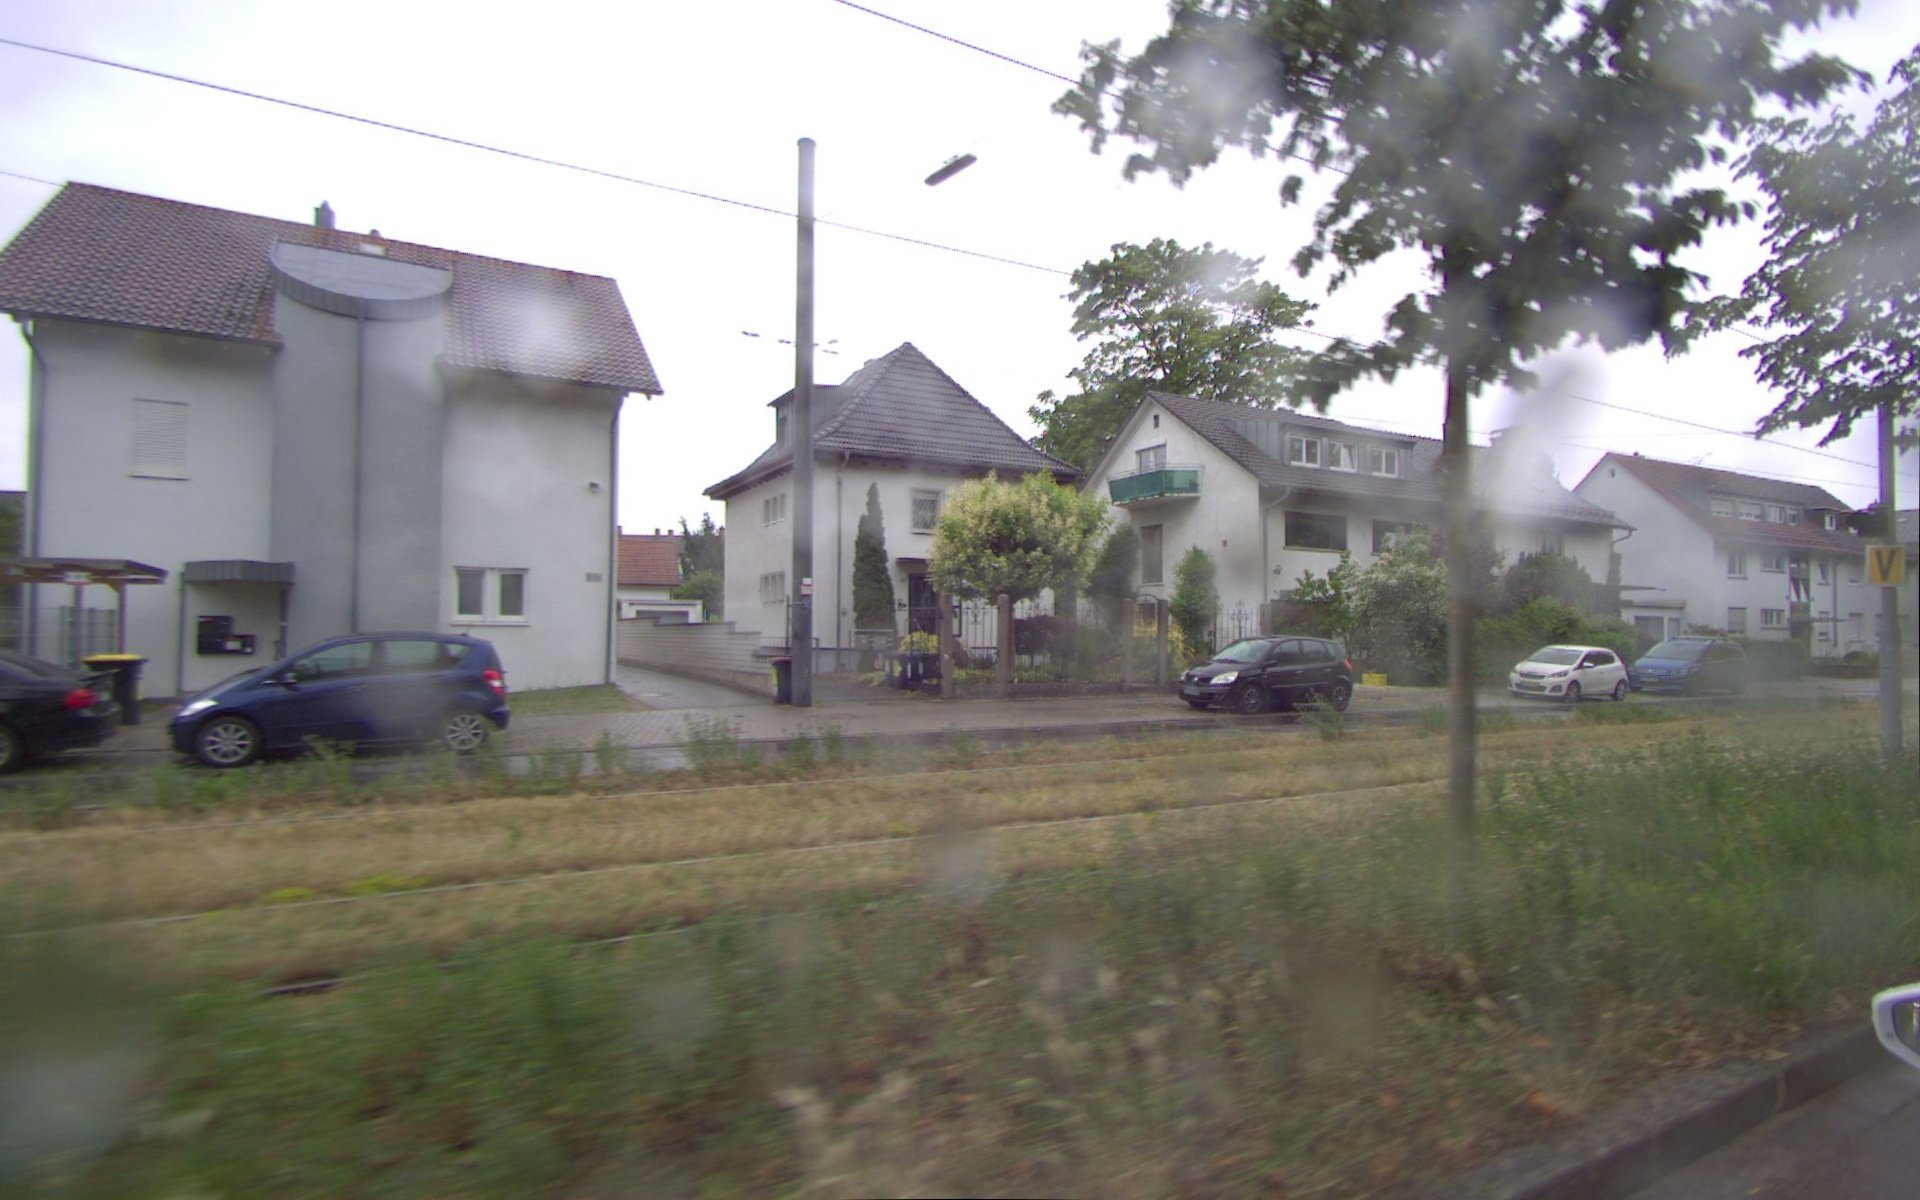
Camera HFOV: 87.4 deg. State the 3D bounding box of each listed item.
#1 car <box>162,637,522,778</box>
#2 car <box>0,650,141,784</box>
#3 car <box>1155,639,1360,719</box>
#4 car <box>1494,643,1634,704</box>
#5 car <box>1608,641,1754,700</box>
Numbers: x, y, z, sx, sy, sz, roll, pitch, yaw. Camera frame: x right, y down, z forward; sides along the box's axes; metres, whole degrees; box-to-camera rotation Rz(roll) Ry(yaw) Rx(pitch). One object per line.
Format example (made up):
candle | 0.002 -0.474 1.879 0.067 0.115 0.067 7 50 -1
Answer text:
car | -8.047 1.311 13.421 3.825 1.571 1.864 1 0 -31
car | -12.028 1.292 11.171 4.188 1.368 1.985 1 0 -29
car | 6.534 1.651 22.030 4.154 1.536 1.985 1 0 -29
car | 16.689 1.972 27.743 3.553 1.508 1.788 1 0 -29
car | 22.242 2.119 30.965 4.359 1.635 1.985 1 0 -29
